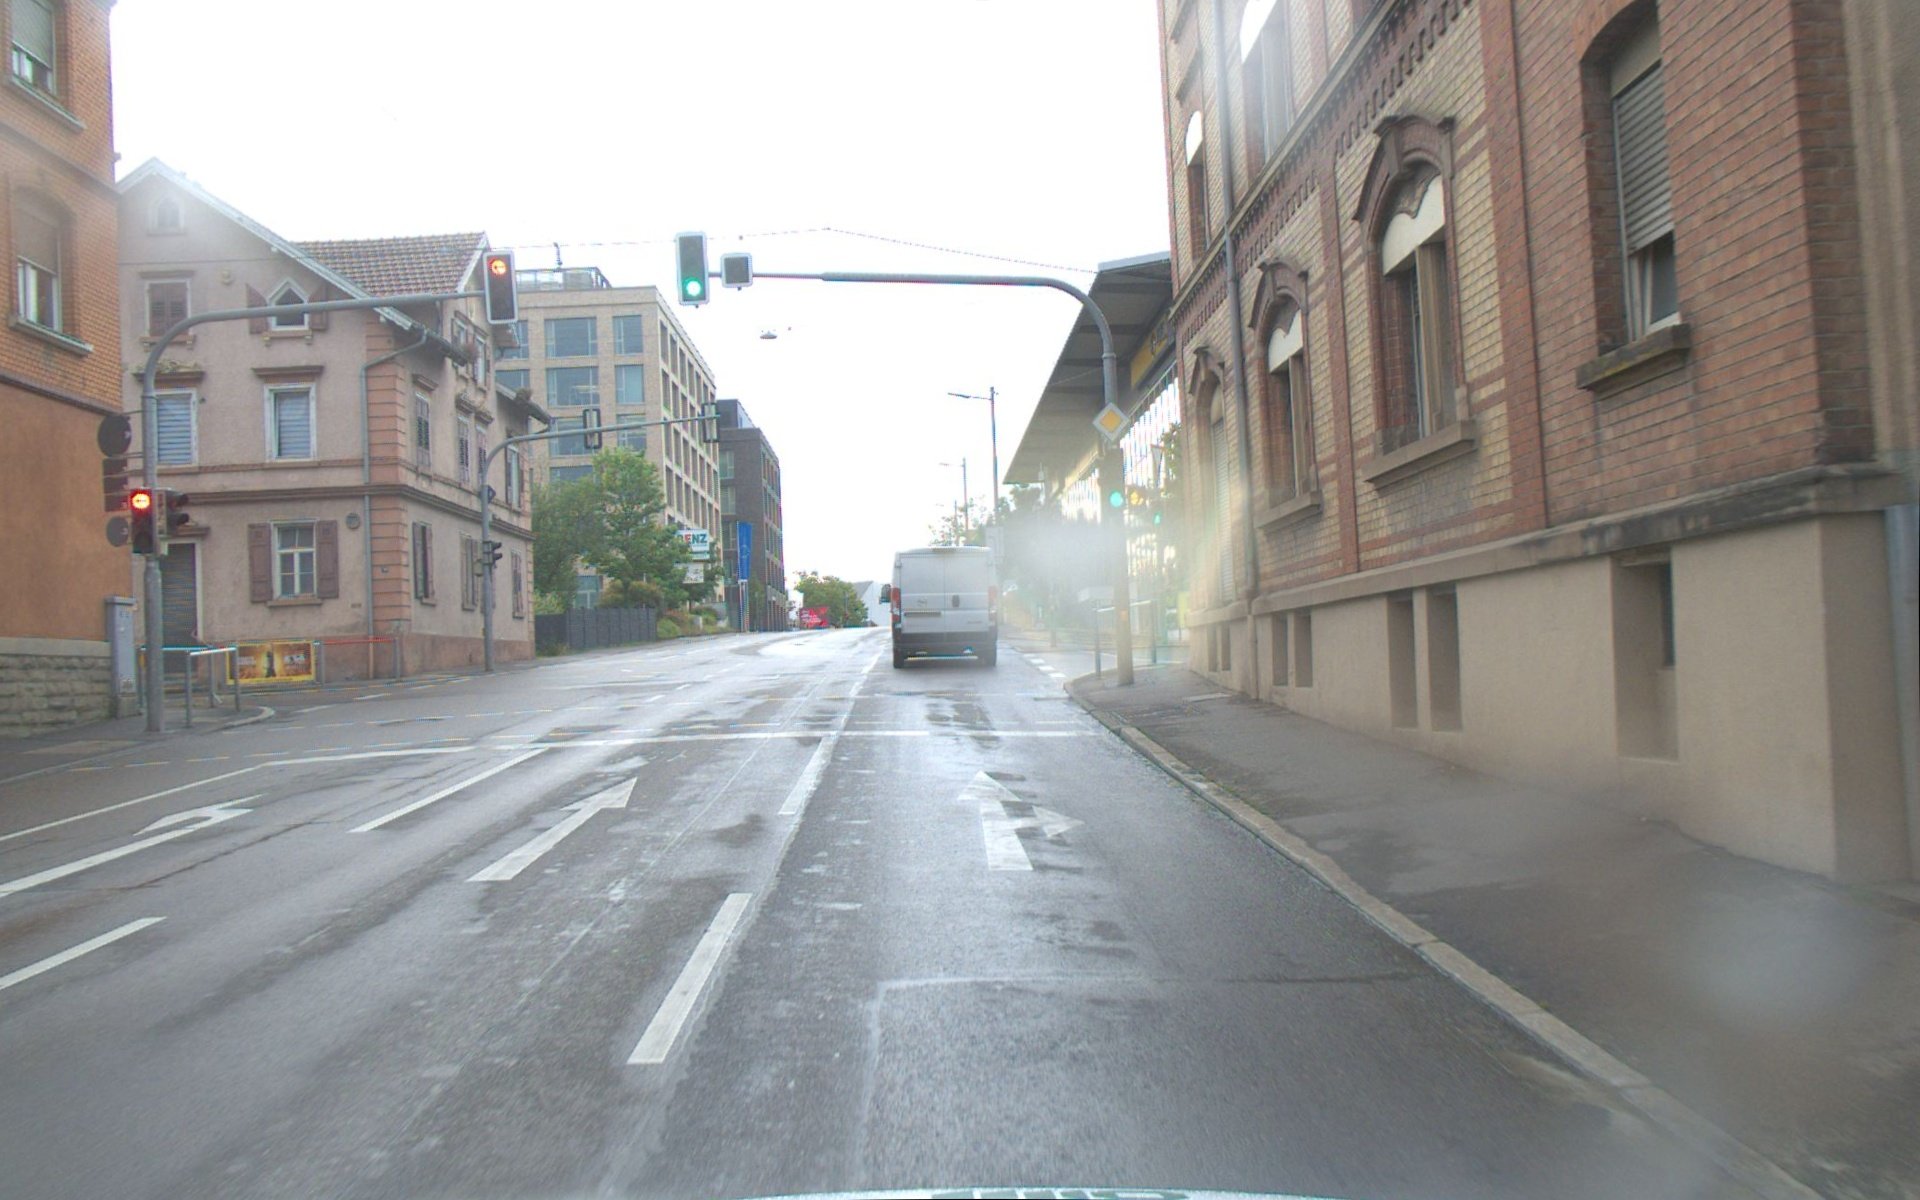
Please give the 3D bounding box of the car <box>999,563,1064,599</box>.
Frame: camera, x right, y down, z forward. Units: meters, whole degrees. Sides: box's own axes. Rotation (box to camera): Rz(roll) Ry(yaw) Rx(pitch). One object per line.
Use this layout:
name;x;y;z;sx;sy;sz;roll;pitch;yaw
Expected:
car;3.992;-1.043;91.394;1.954;1.740;4.426;-6;-2;24

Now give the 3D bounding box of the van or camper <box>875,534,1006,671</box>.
van or camper;-0.392;0.069;32.814;2.292;2.398;5.198;-2;-1;-1
